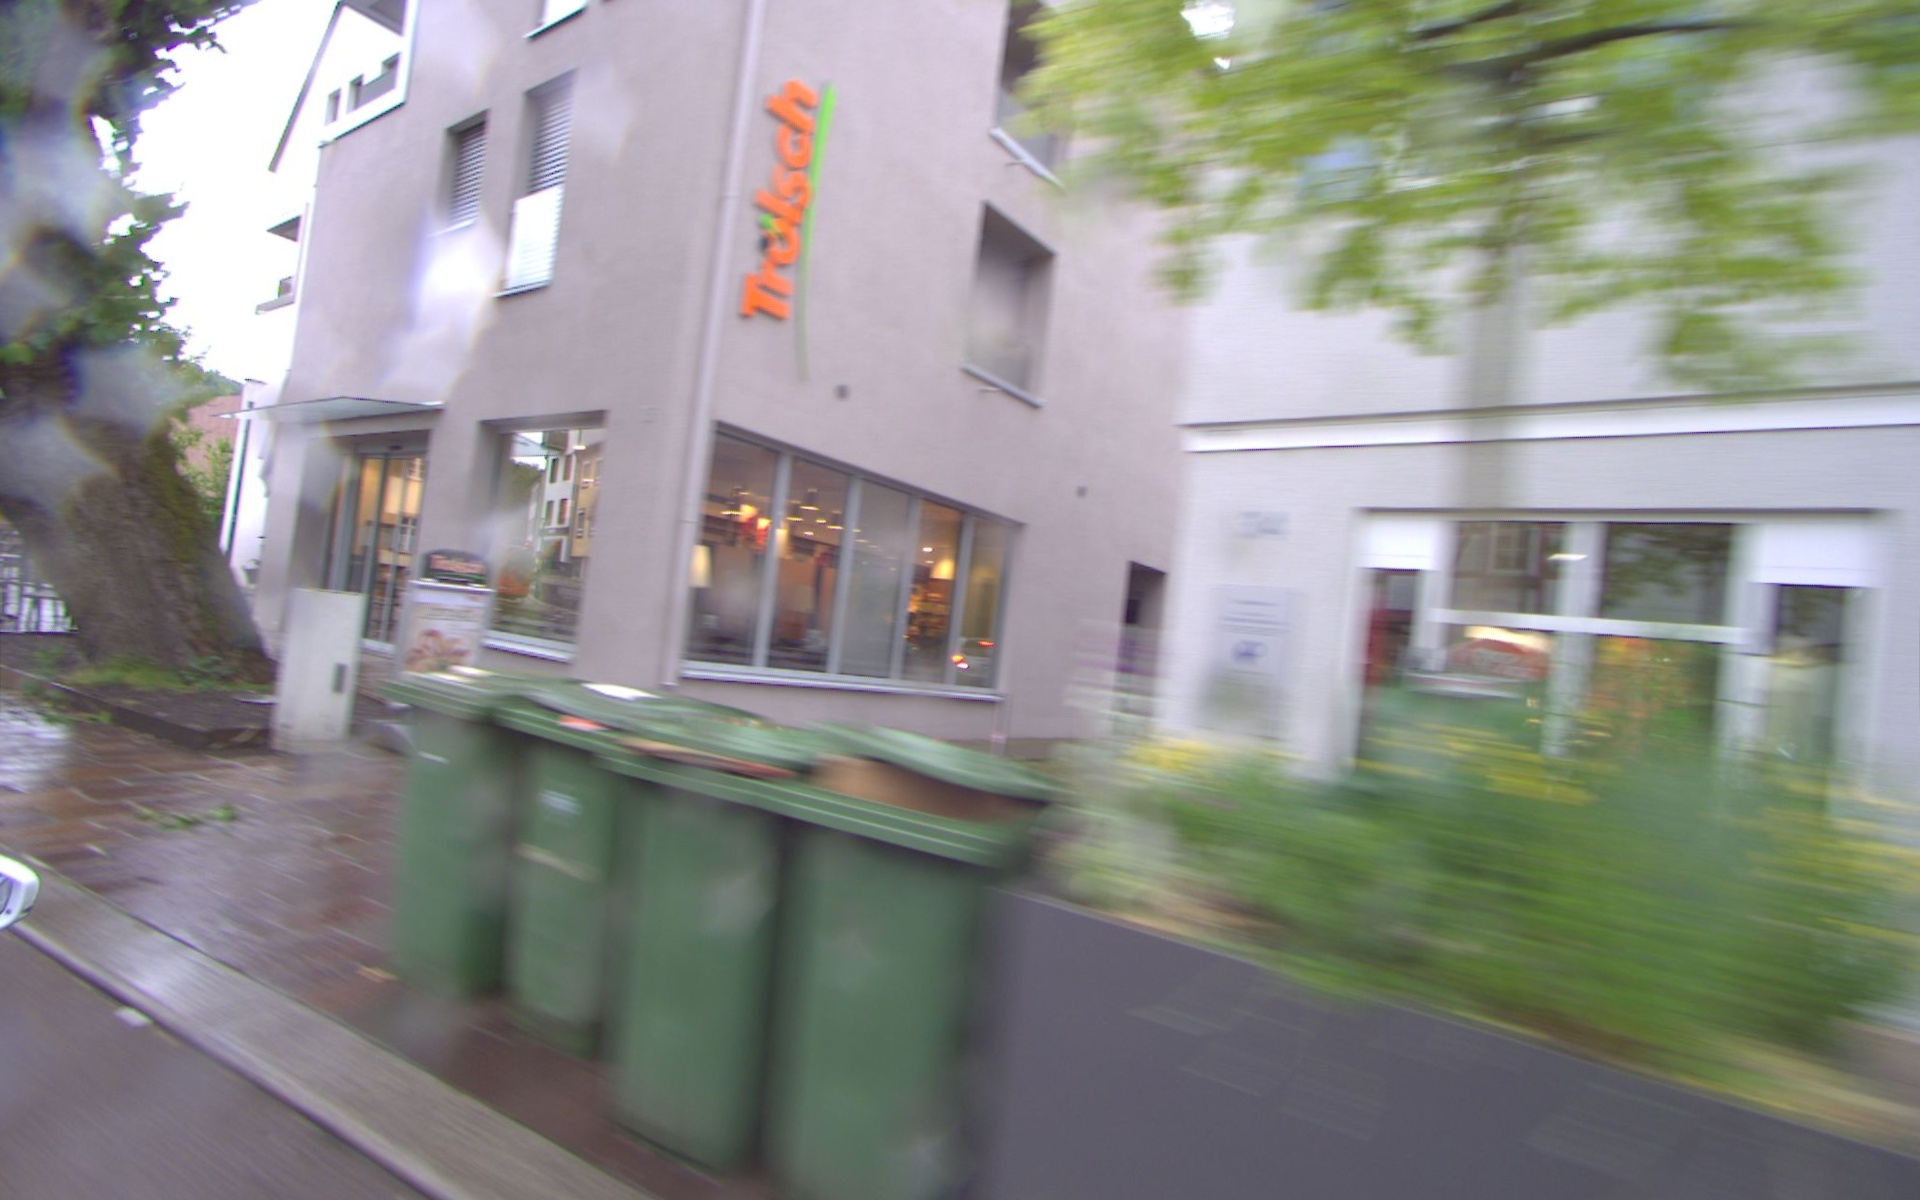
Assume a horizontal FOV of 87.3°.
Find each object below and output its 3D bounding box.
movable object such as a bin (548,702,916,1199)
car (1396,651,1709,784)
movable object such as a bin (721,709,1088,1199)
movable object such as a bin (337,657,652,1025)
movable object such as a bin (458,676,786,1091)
[{"bbox_3d":[-0.601,0.877,2.774,0.552,1.114,0.693,5,-2,33],"label":"movable object such as a bin"},{"bbox_3d":[9.174,1.793,15.723,3.929,1.496,1.584,7,0,-6],"label":"car"},{"bbox_3d":[-0.120,0.887,2.450,0.567,1.169,0.544,5,-2,33],"label":"movable object such as a bin"},{"bbox_3d":[-1.638,0.795,3.596,0.567,1.092,0.730,5,-2,33],"label":"movable object such as a bin"},{"bbox_3d":[-1.082,0.848,3.304,0.552,1.114,0.730,5,-2,33],"label":"movable object such as a bin"}]
